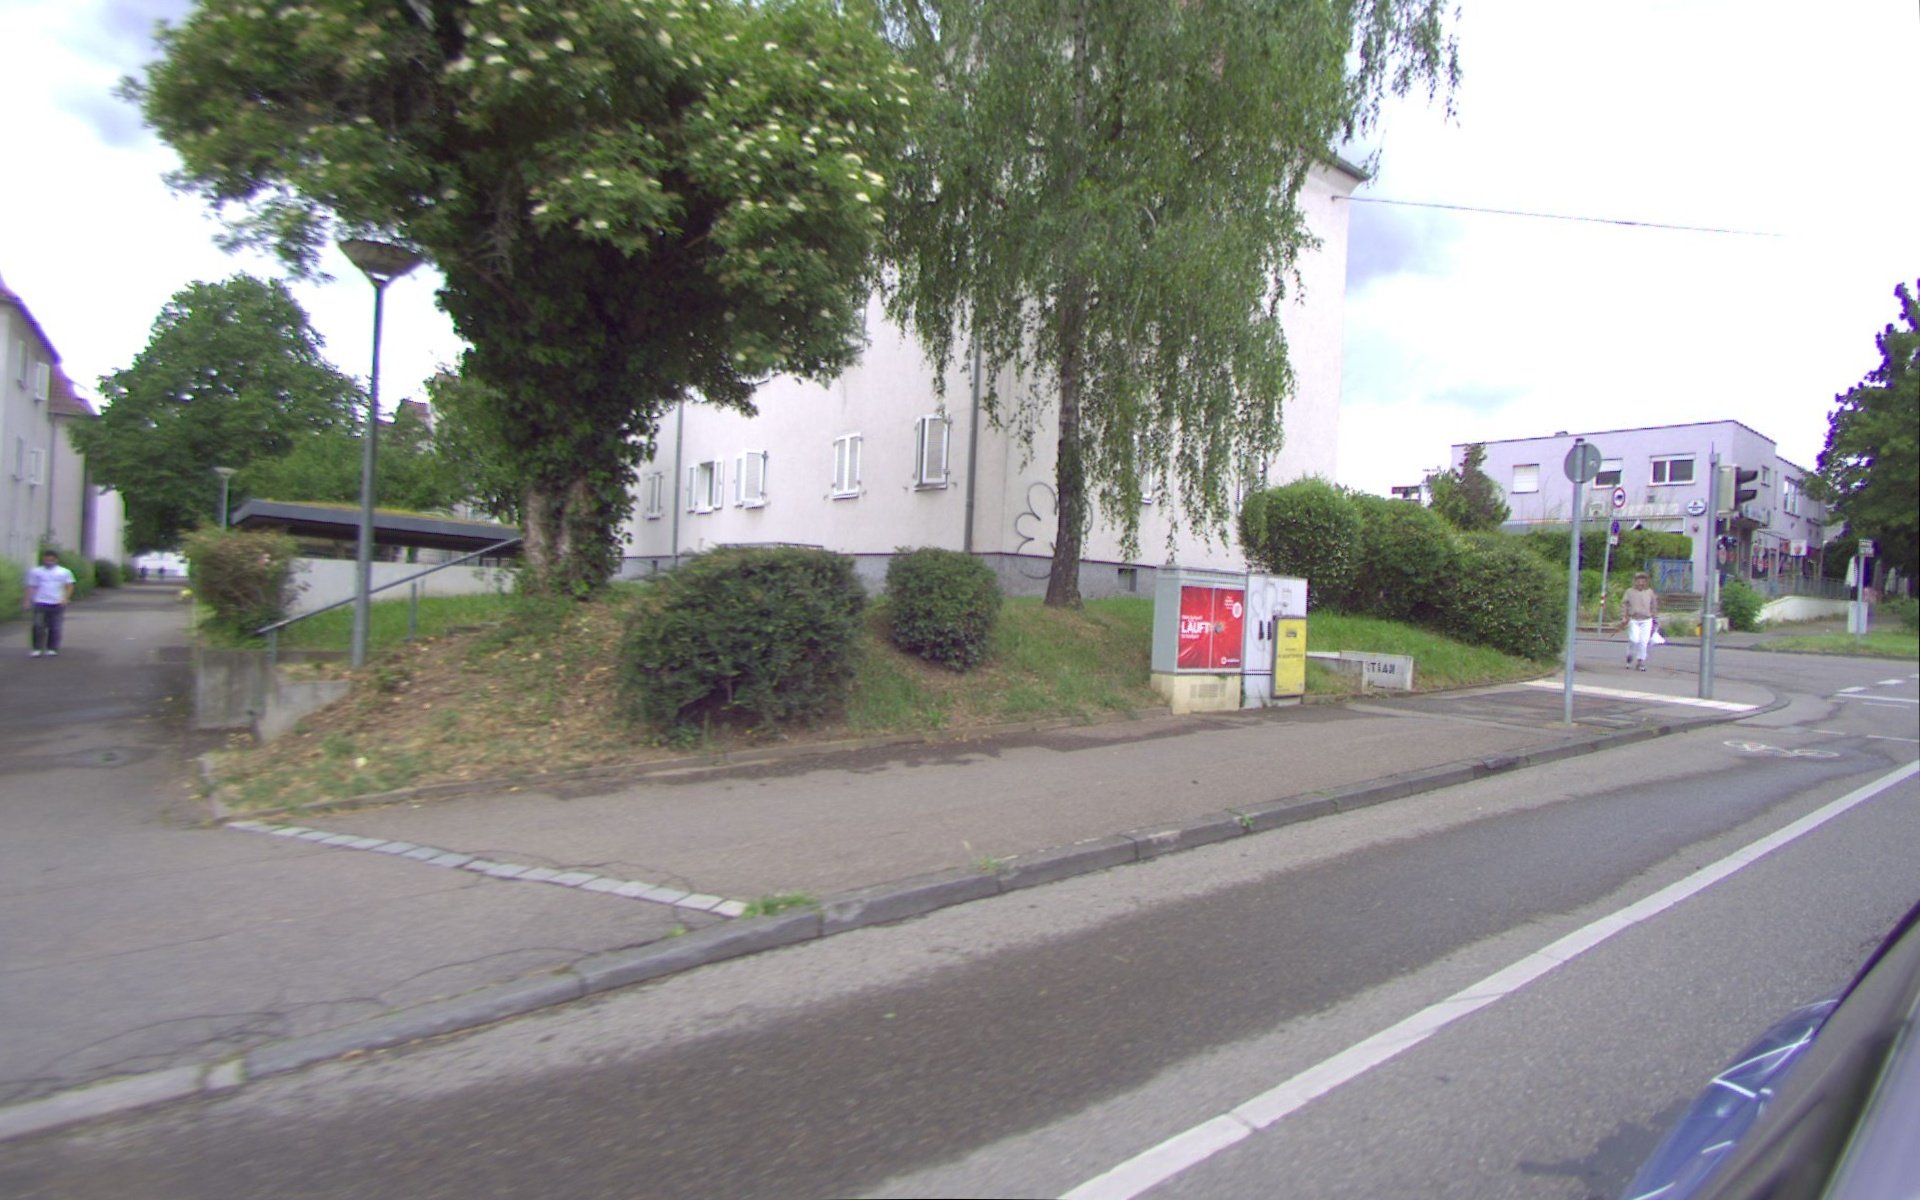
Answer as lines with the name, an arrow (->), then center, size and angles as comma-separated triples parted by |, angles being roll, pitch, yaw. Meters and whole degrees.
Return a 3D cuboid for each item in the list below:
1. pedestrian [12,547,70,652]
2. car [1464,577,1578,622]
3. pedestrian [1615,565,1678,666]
pedestrian -> -15.015, -0.016, 16.551 | 0.675, 1.673, 0.569 | 0, 0, -41
car -> 19.675, -0.047, 35.426 | 4.530, 1.482, 1.998 | 0, 1, -40
pedestrian -> 12.096, 0.271, 17.841 | 0.564, 1.706, 0.659 | 3, 1, -37
